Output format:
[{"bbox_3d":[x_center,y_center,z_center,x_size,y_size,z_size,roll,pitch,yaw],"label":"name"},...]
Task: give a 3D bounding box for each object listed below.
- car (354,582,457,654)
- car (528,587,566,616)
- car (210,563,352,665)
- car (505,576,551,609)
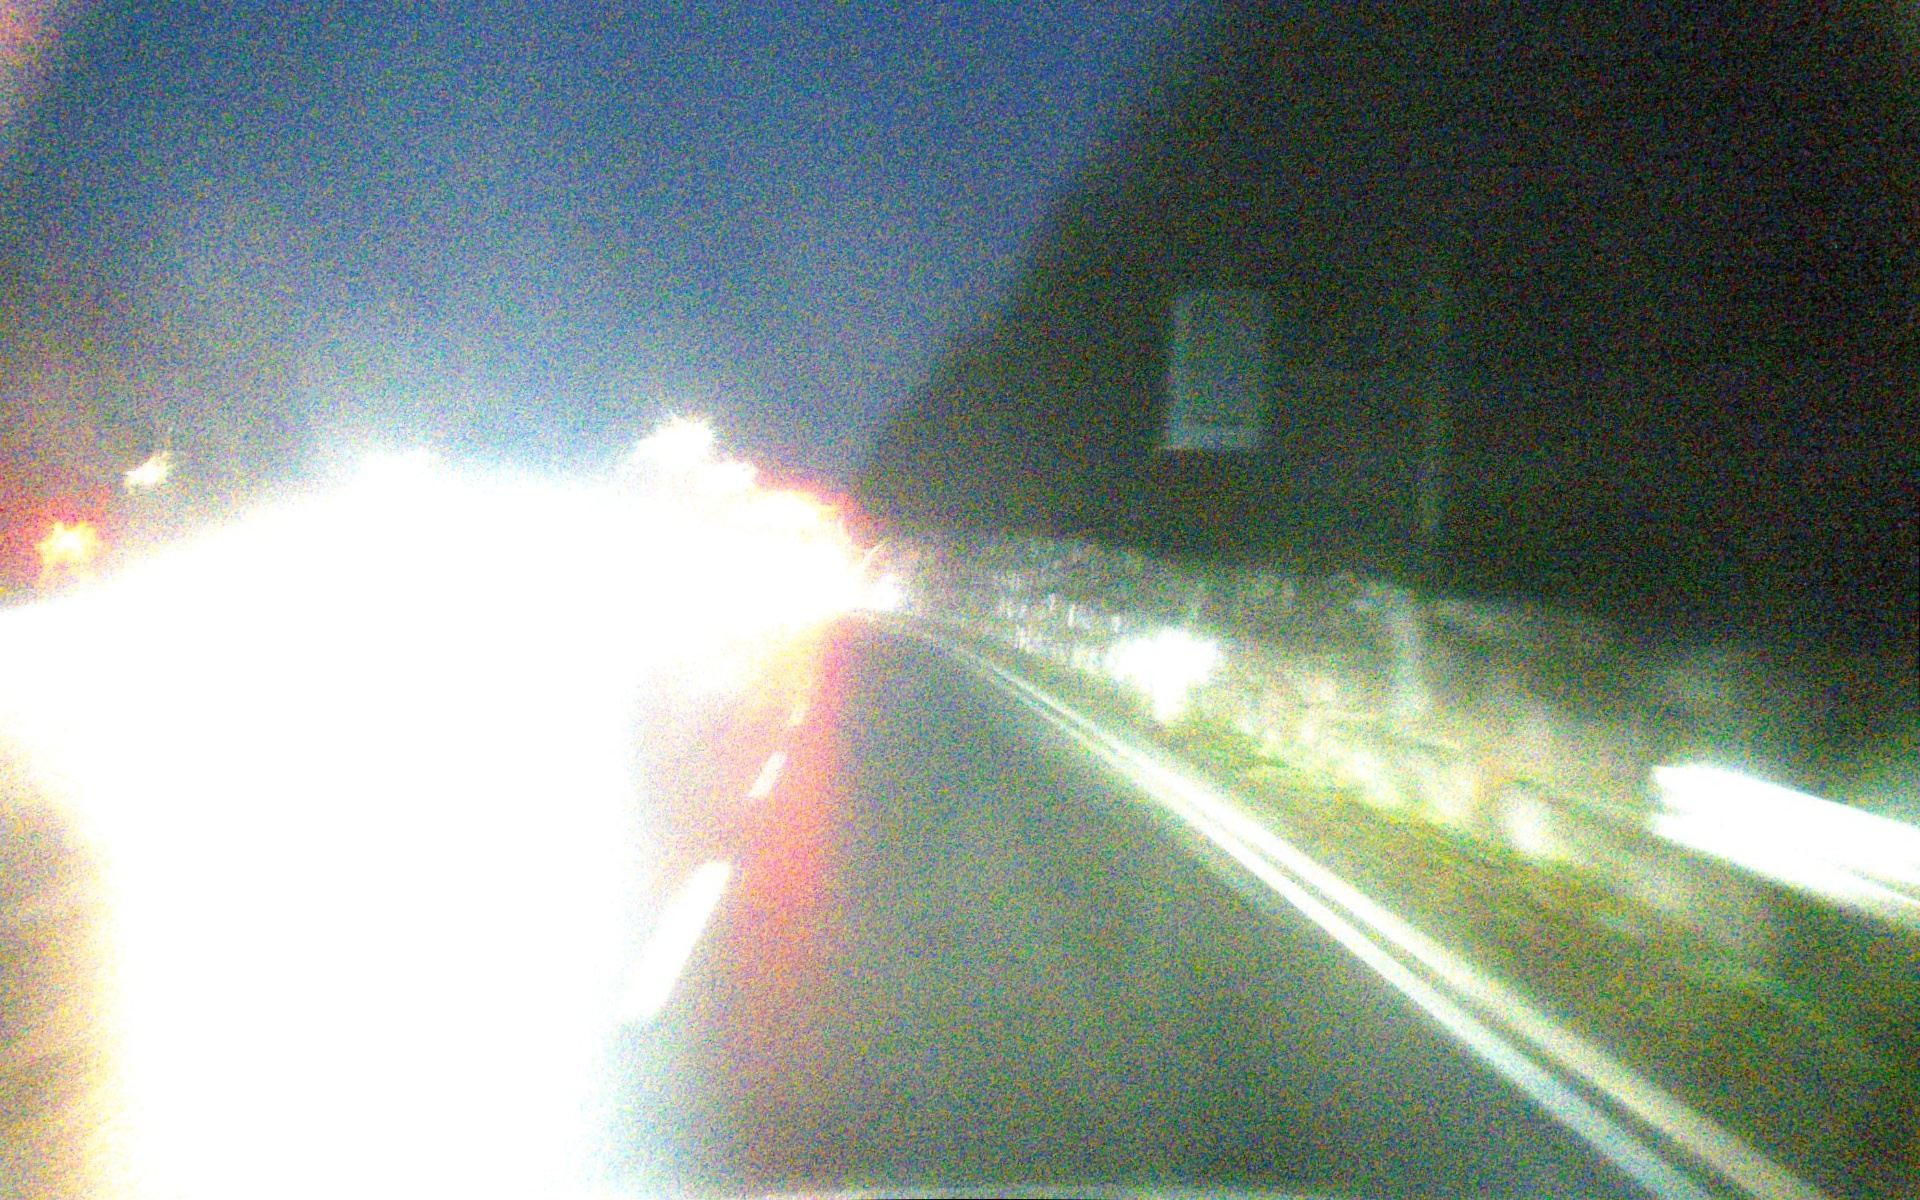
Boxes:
[{"bbox_3d":[-14.512,0.437,43.494,2.161,1.776,4.509,1,0,-14],"label":"car"},{"bbox_3d":[-23.030,0.065,92.263,1.758,1.466,3.847,-2,1,-10],"label":"car"},{"bbox_3d":[-11.716,0.224,28.753,1.851,1.628,3.882,1,0,-17],"label":"car"},{"bbox_3d":[-20.283,-0.358,77.827,1.800,1.467,4.478,1,0,-12],"label":"car"}]
